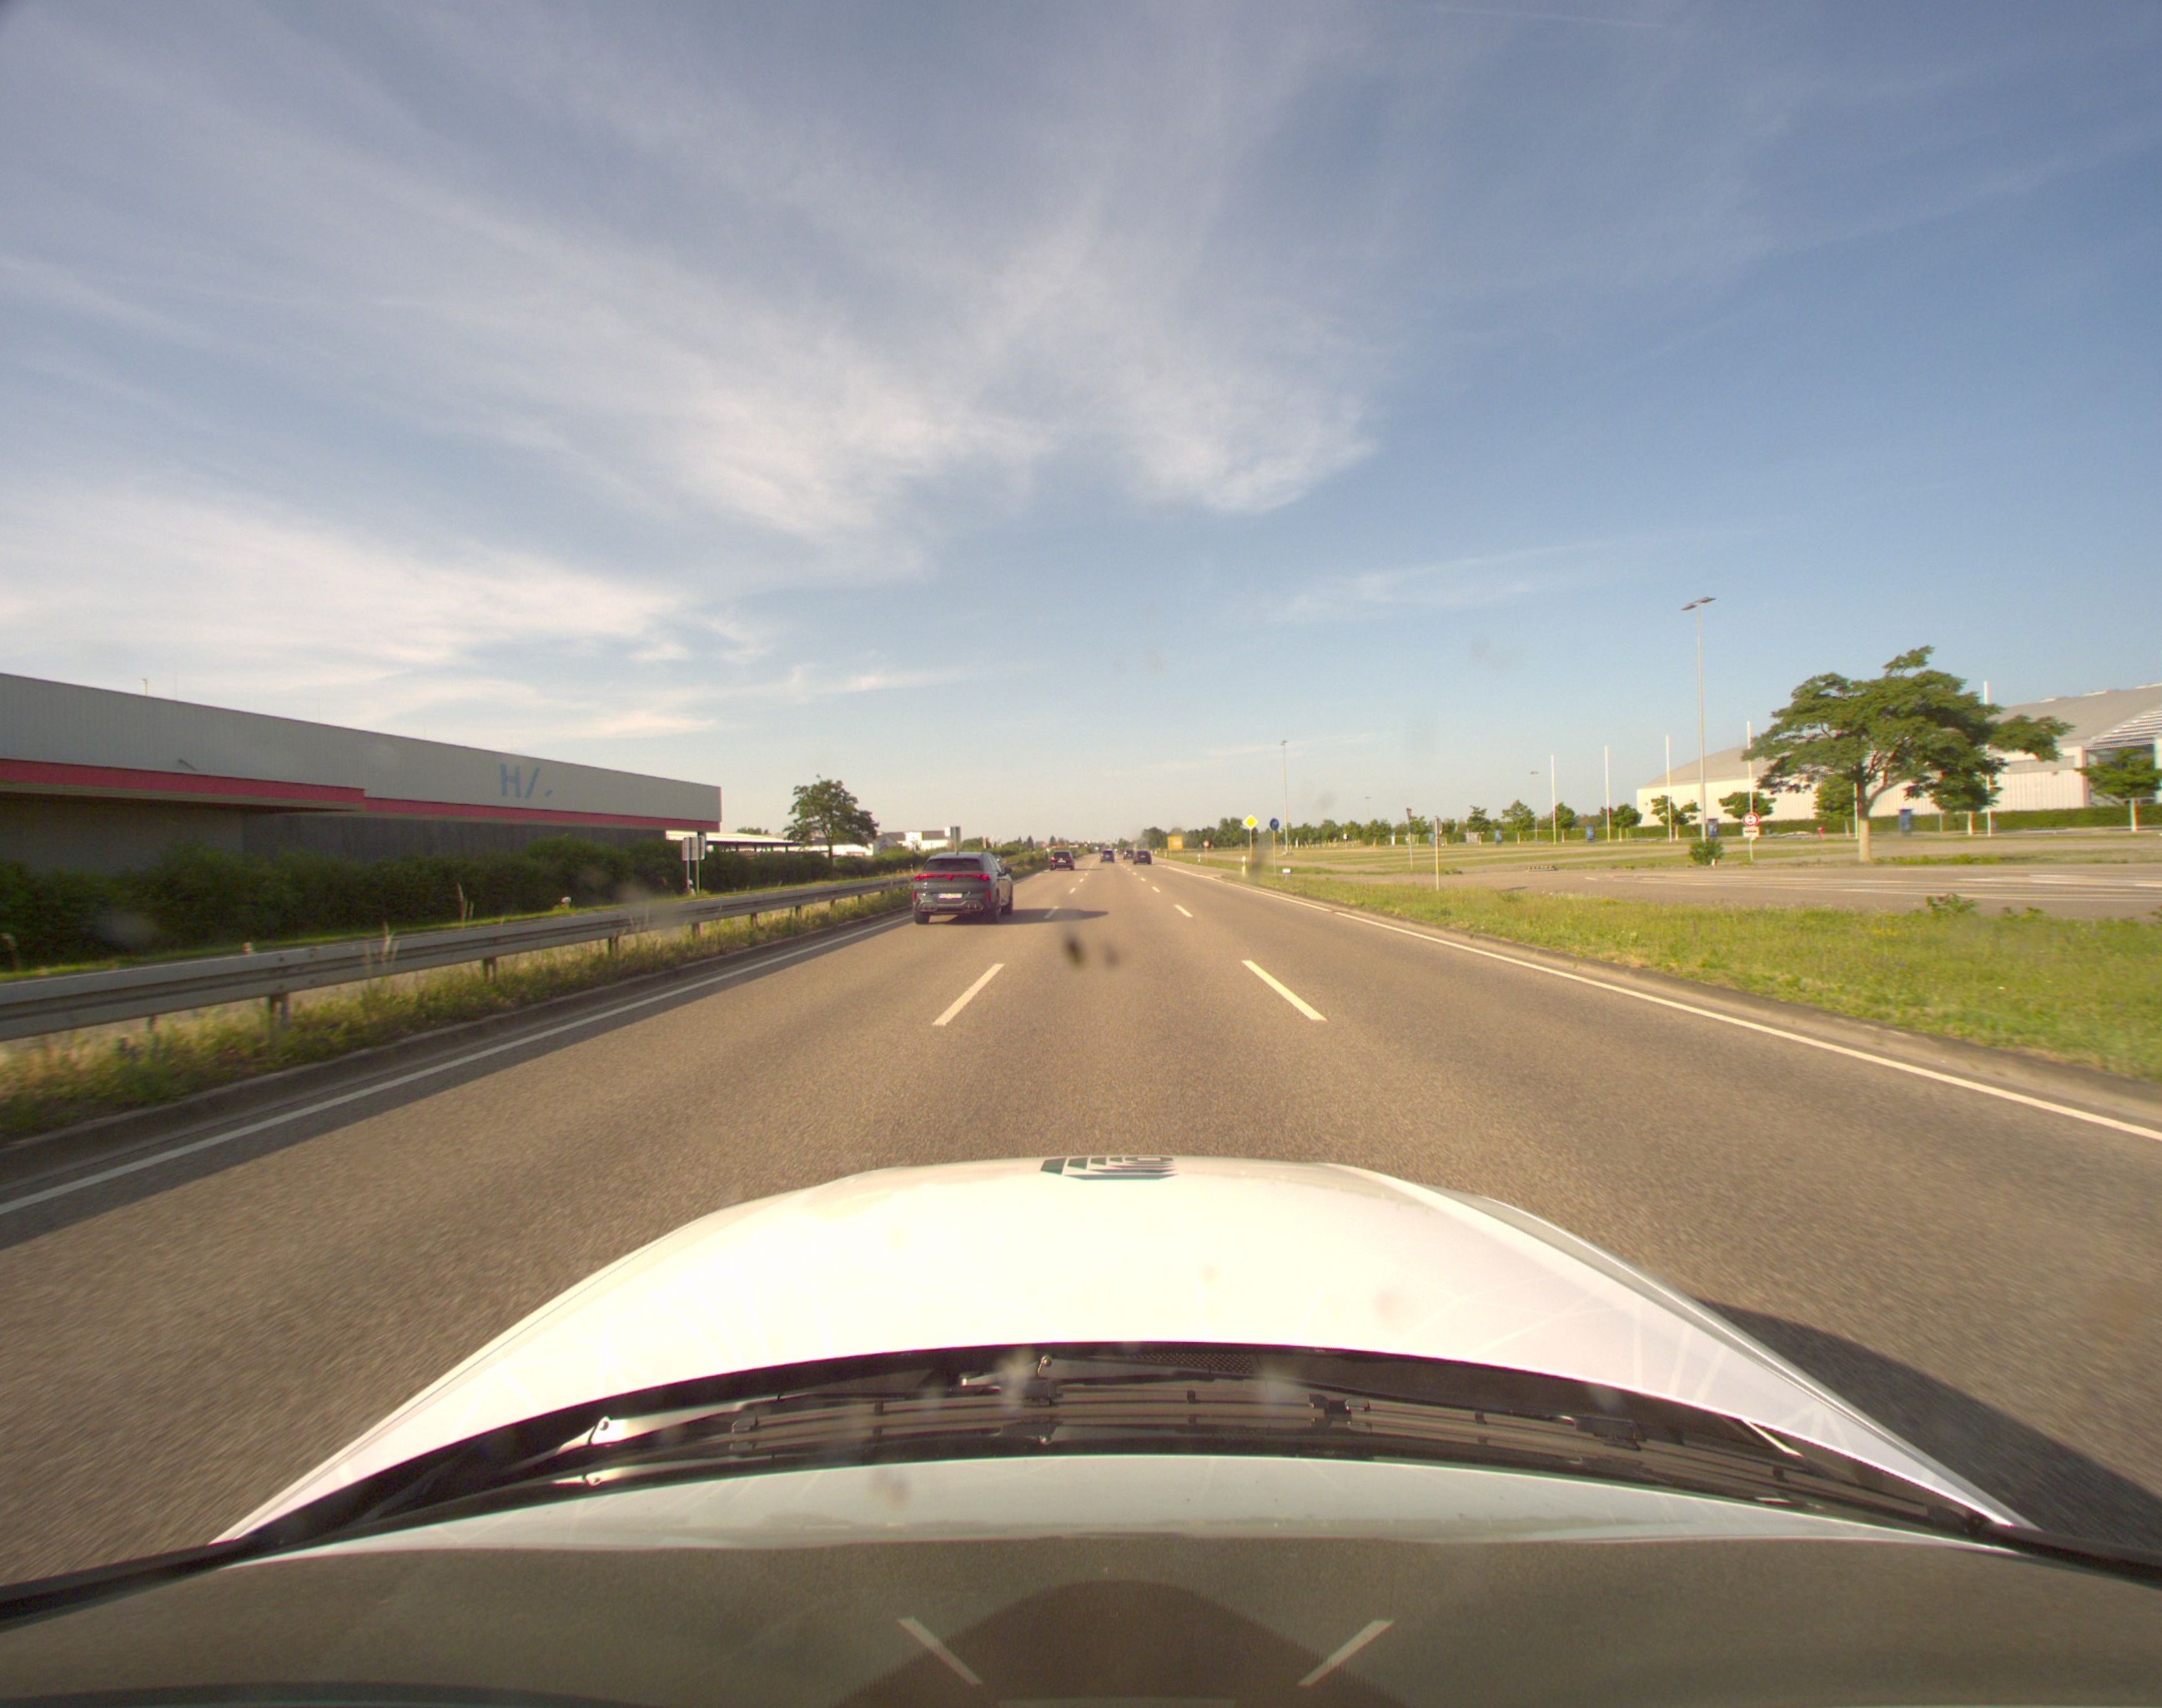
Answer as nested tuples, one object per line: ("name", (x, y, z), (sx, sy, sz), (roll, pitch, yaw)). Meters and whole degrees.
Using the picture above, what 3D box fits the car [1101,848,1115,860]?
("car", (3.528, 0.008, 106.689), (1.806, 1.463, 4.403), (0, 0, 2))

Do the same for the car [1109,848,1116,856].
("car", (7.370, -0.465, 190.414), (1.639, 1.728, 3.402), (-1, -1, 2))

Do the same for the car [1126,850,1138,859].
("car", (8.168, 0.027, 131.015), (1.866, 1.463, 3.983), (0, 0, 2))

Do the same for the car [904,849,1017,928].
("car", (-2.686, 0.710, 19.181), (1.838, 1.611, 4.403), (0, 0, 2))

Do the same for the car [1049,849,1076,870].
("car", (-1.533, 0.424, 68.946), (1.925, 1.680, 4.403), (0, 0, 2))

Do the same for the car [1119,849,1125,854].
("car", (10.203, -0.644, 204.550), (1.497, 1.313, 3.158), (0, 0, 2))

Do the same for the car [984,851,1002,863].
("car", (-11.707, 0.376, 108.187), (1.772, 1.424, 4.003), (-2, 0, 3))

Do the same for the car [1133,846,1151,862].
("car", (6.882, -0.005, 92.014), (1.925, 1.680, 4.403), (0, 0, 2))
